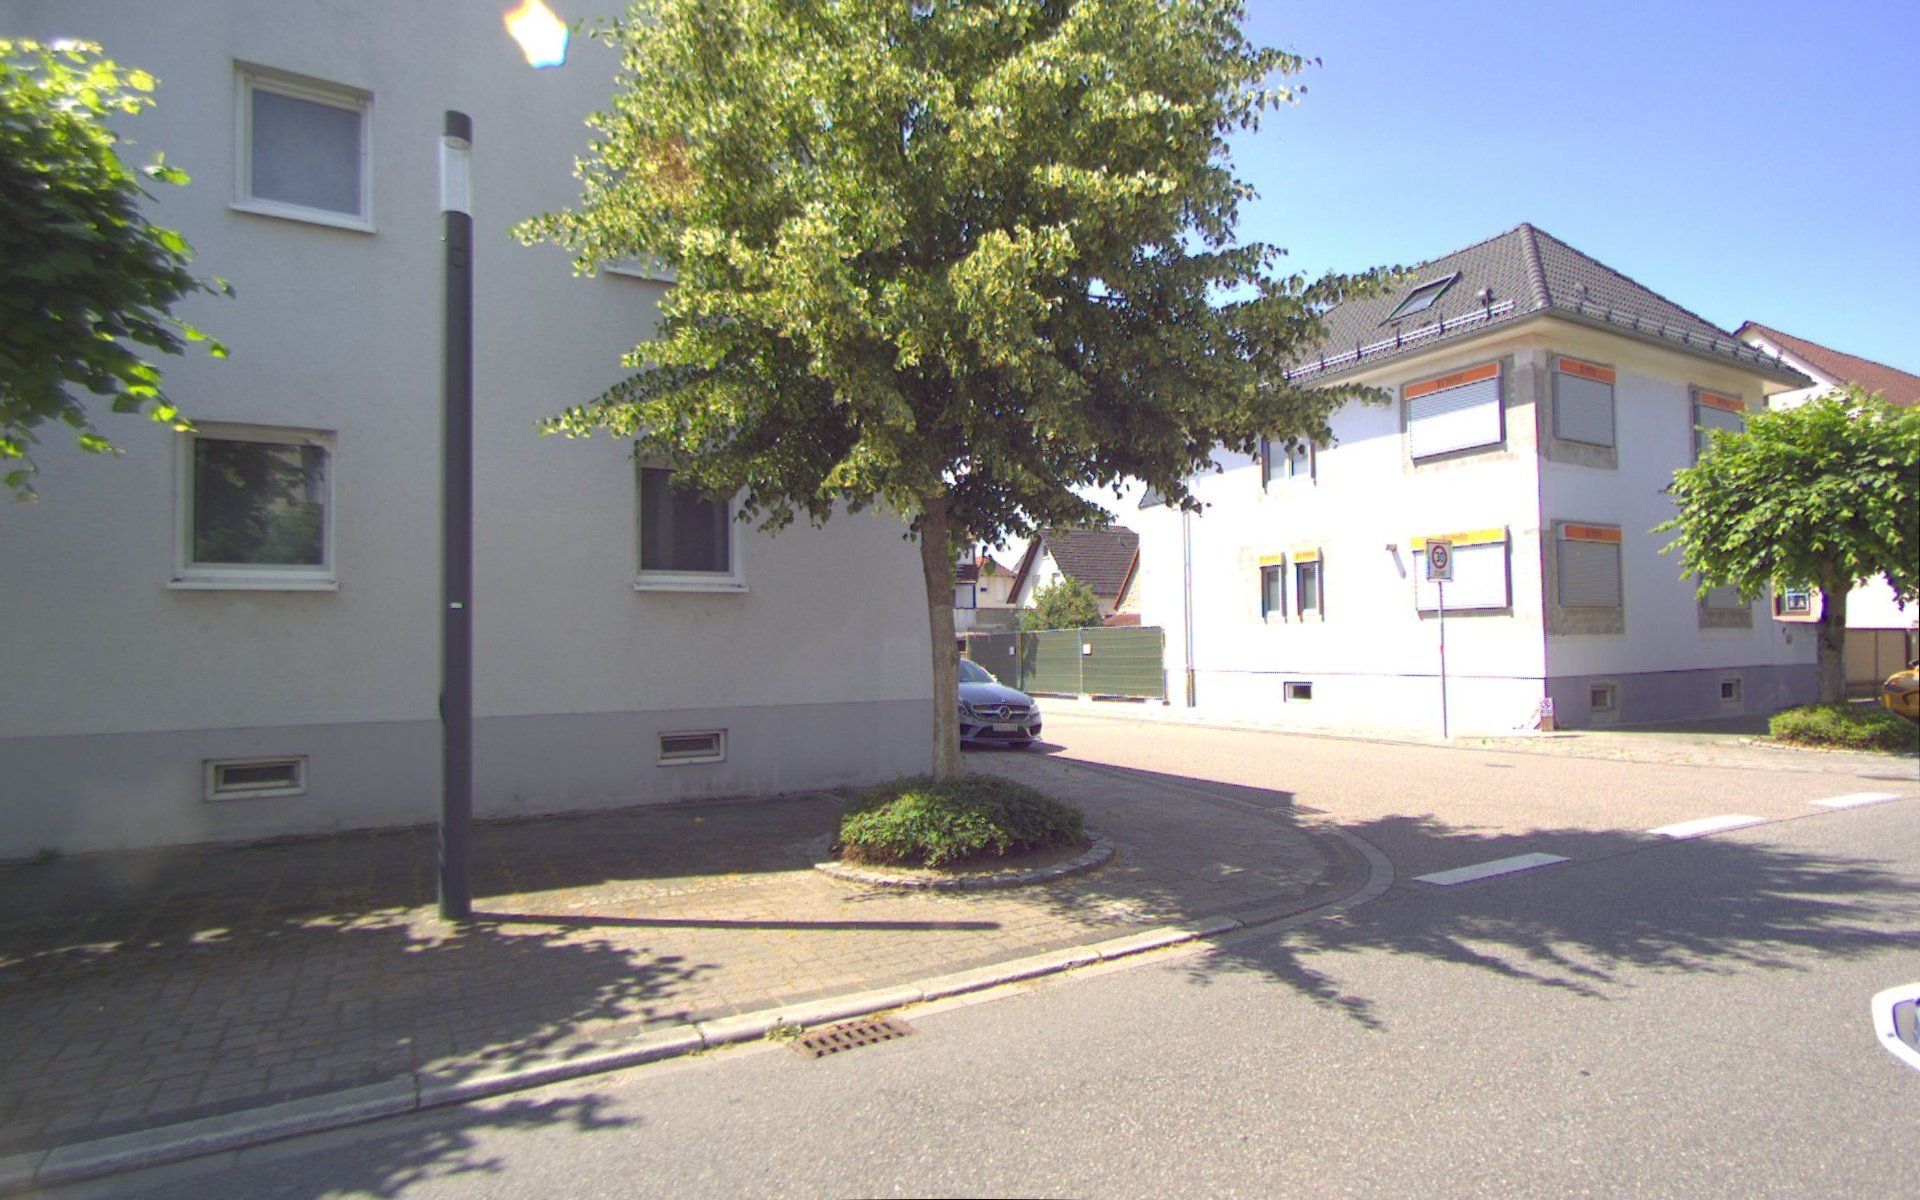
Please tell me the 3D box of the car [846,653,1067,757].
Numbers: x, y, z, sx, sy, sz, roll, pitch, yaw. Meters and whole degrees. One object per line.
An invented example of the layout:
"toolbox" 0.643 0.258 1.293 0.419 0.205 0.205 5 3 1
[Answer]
"car" -0.217 1.654 16.590 1.974 1.467 4.324 3 -4 -26

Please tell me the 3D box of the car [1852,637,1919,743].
"car" 17.003 1.430 16.592 4.631 1.632 1.985 1 -2 -29
